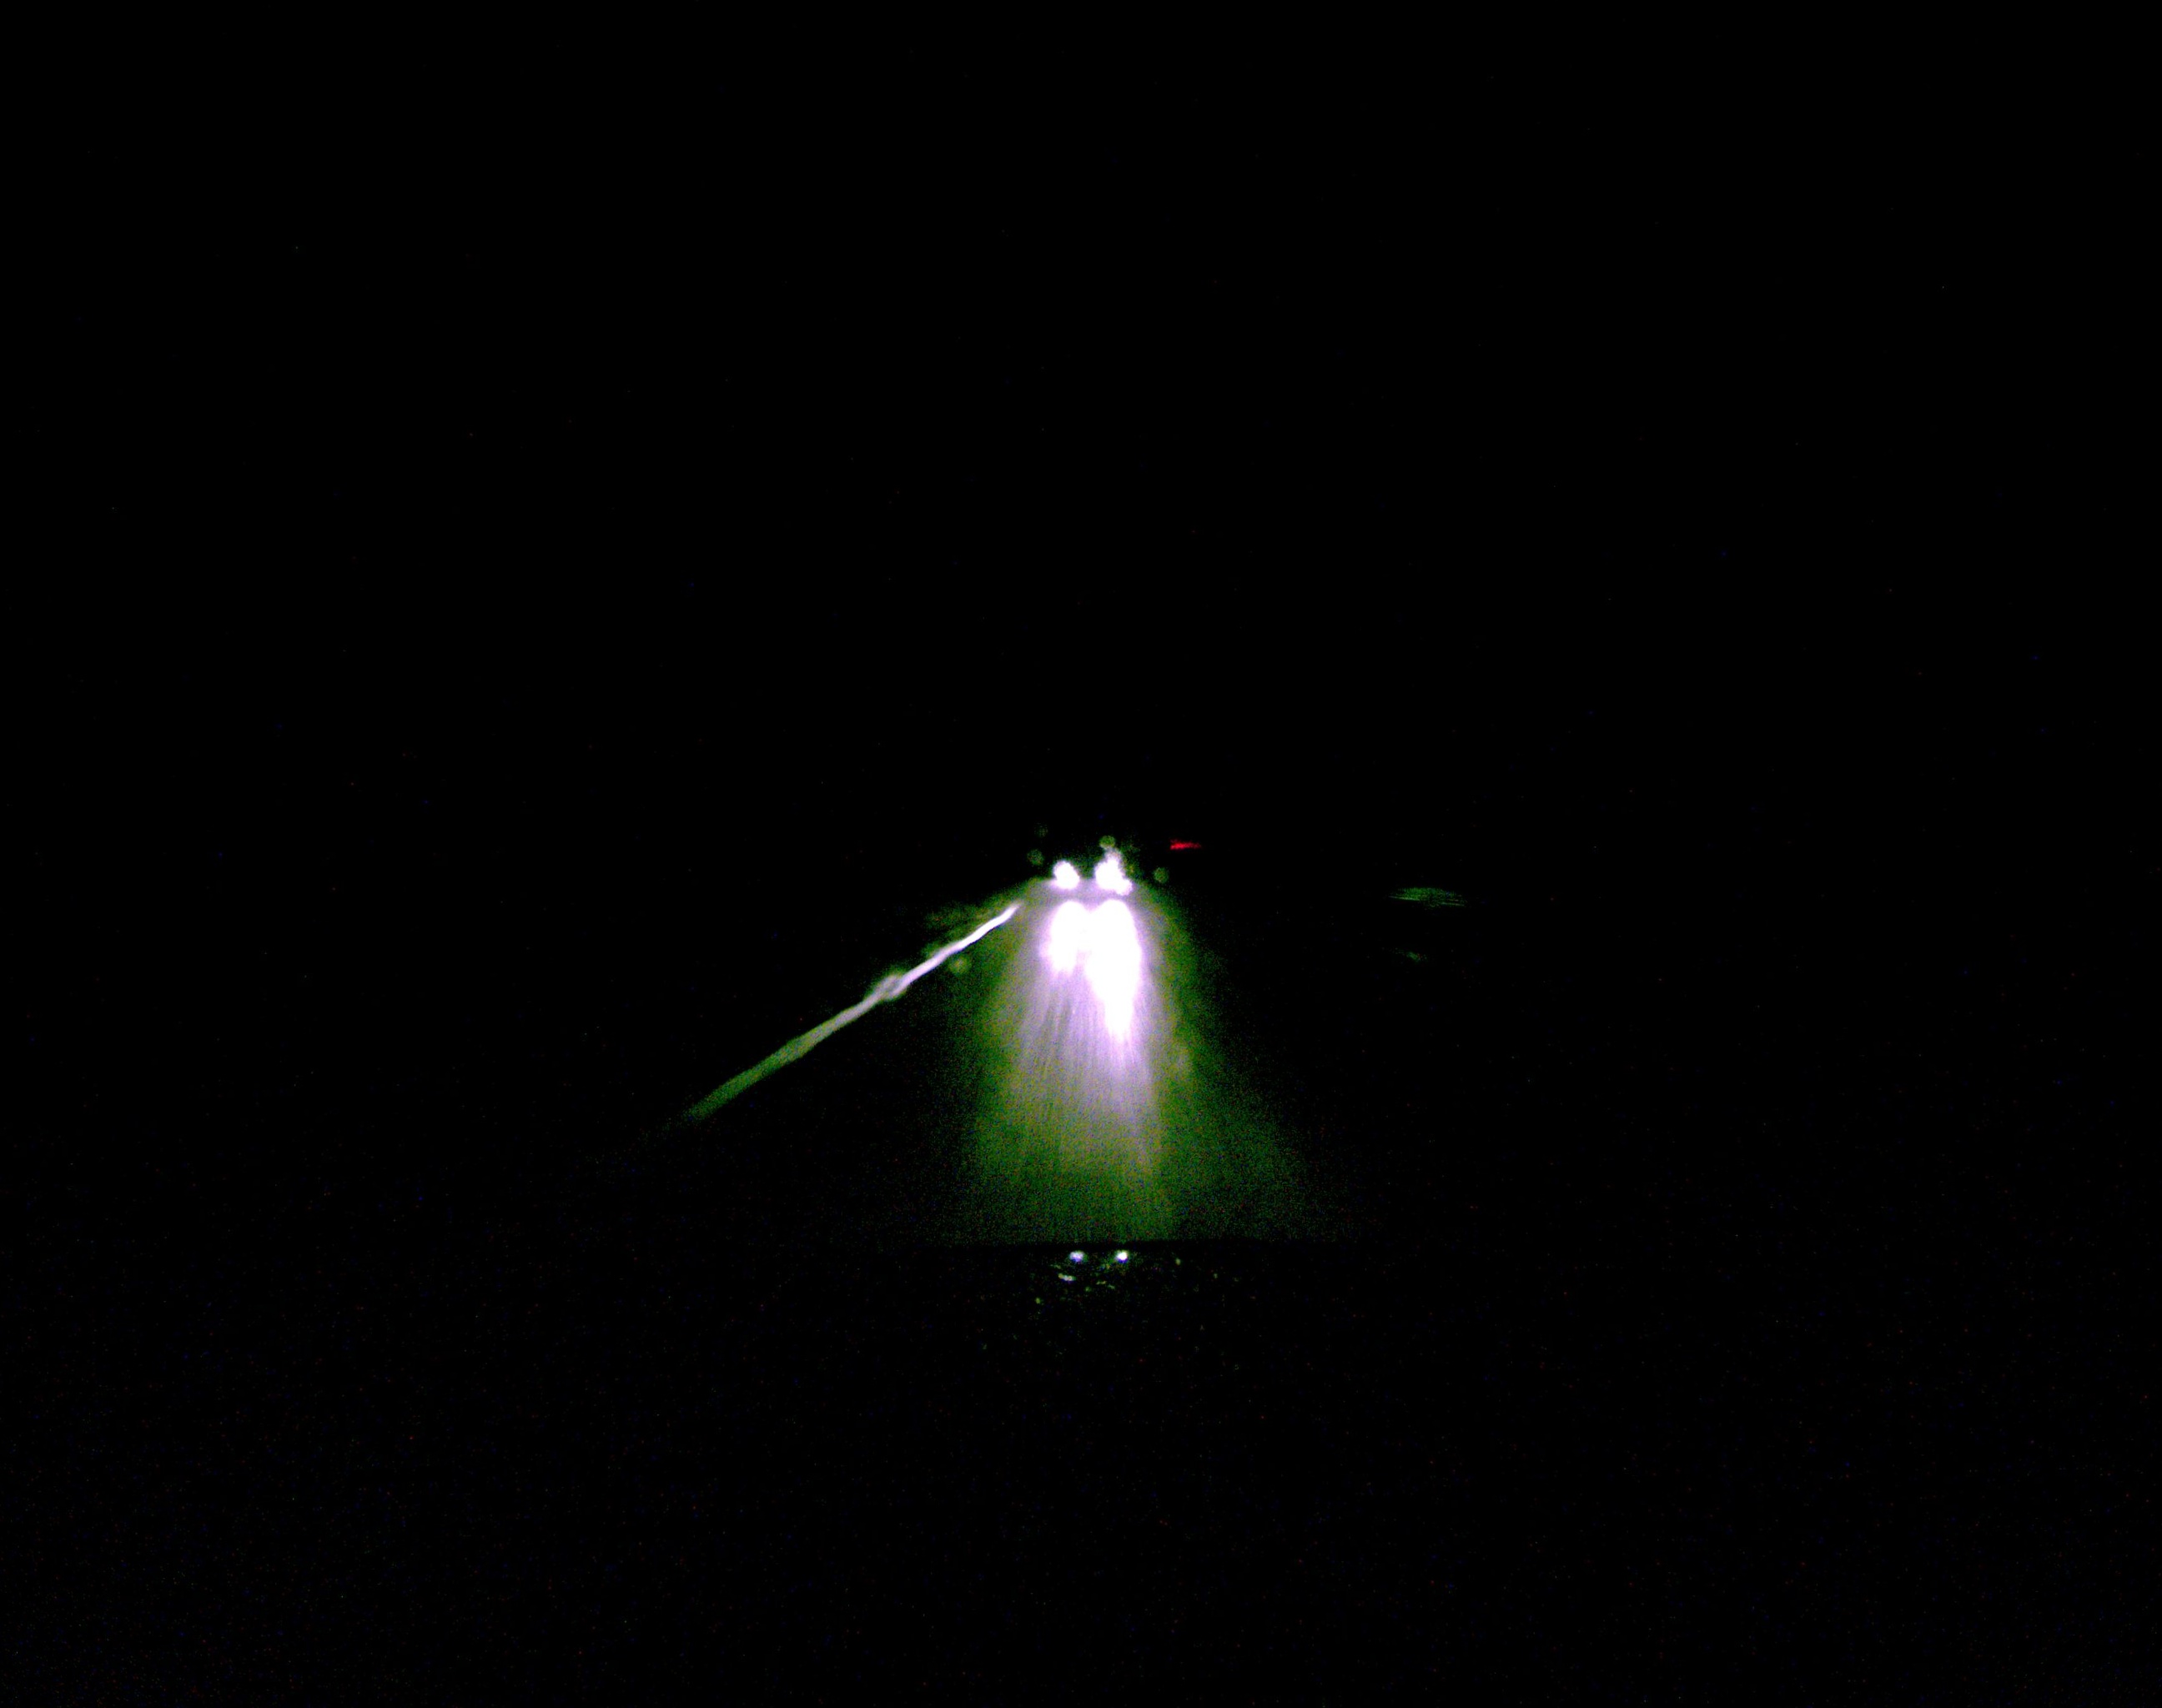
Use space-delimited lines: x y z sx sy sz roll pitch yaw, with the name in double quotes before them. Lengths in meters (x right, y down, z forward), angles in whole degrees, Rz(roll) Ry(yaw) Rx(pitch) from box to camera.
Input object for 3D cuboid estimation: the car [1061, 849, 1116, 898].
"car" 0.351 0.743 28.472 1.793 1.593 4.002 -4 -2 3
